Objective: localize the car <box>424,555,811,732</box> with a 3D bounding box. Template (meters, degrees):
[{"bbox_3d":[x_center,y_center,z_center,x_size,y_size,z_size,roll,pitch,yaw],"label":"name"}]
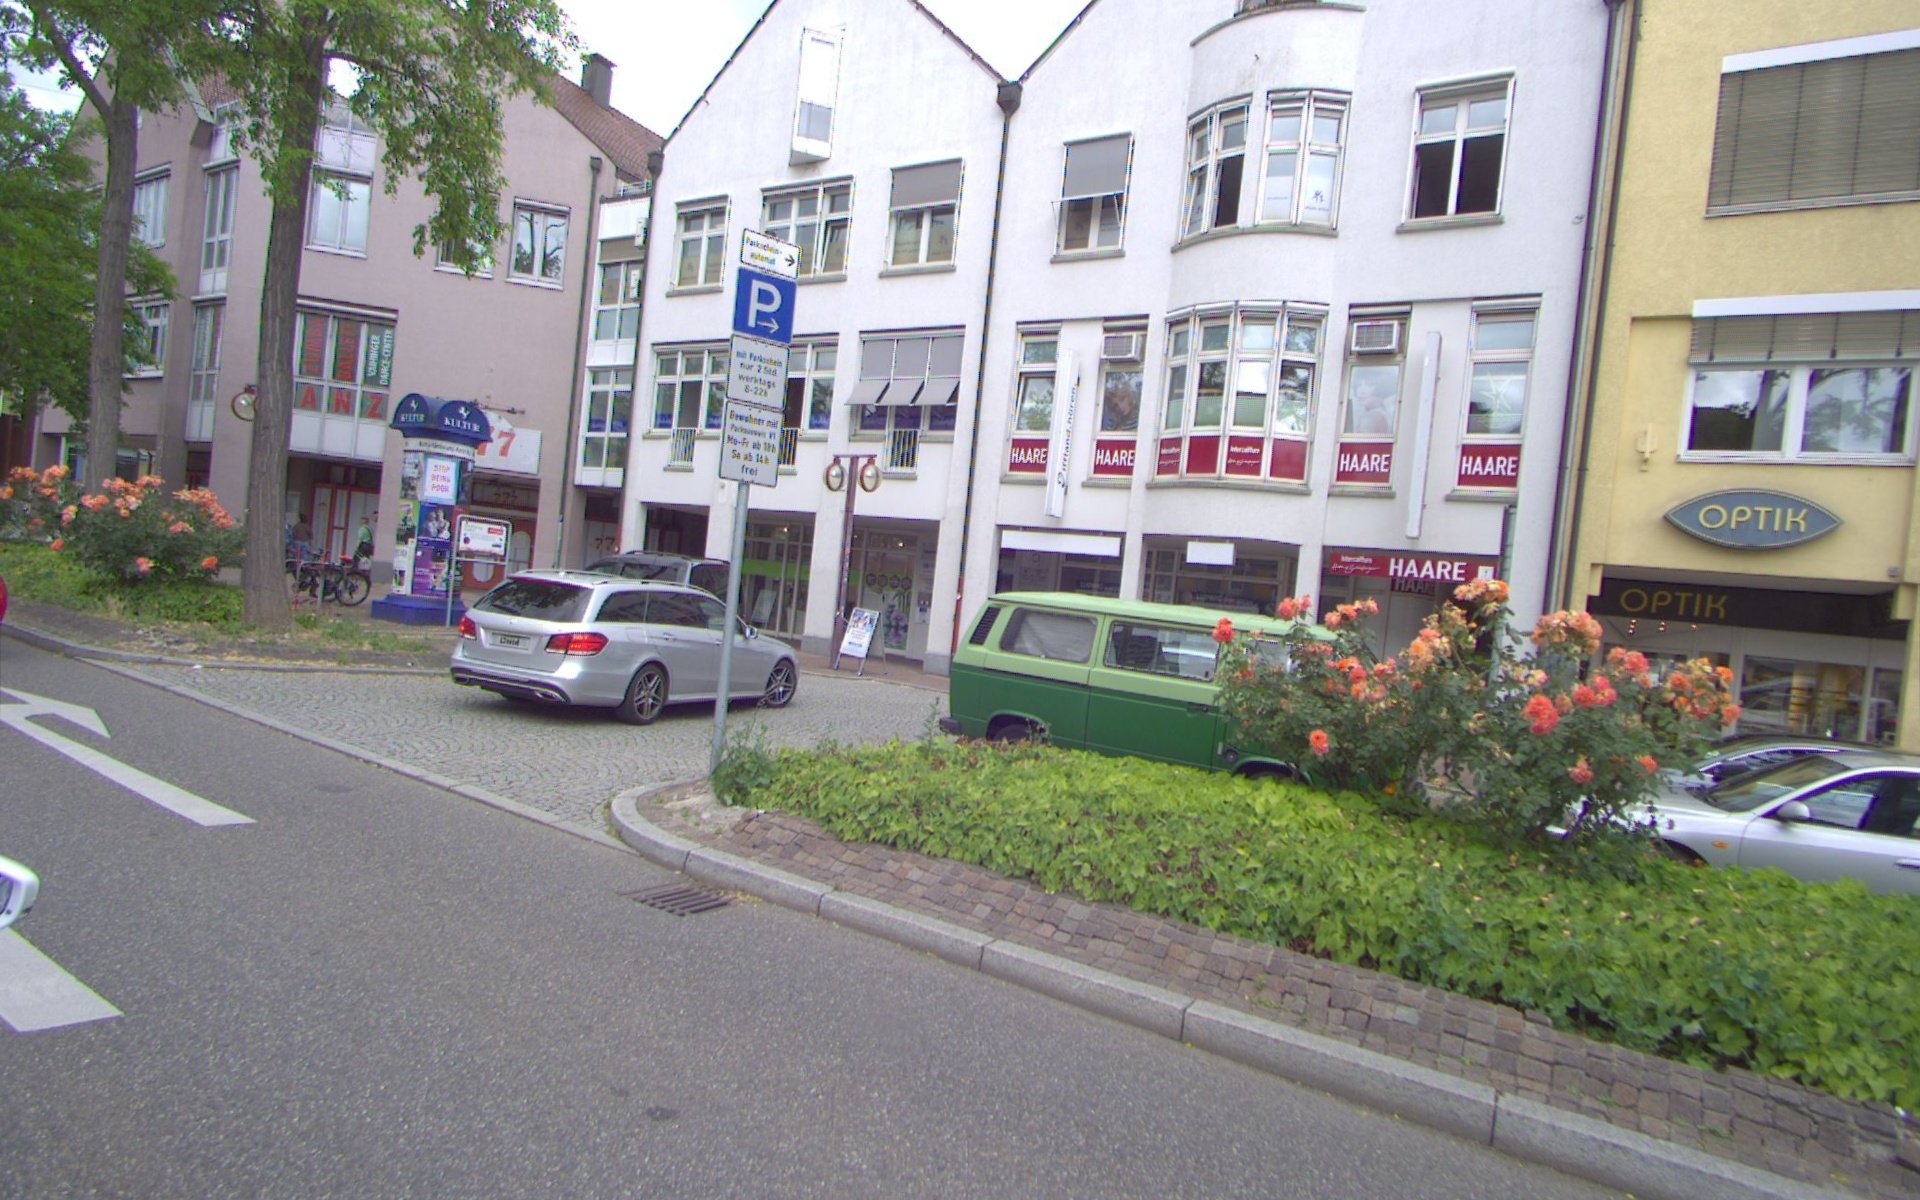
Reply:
[{"bbox_3d":[-3.673,0.500,11.748,1.787,1.466,4.369,8,0,20],"label":"car"}]

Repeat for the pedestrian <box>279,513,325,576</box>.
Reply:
[{"bbox_3d":[-18.005,-1.511,27.530,0.610,1.582,0.665,7,0,10],"label":"pedestrian"}]

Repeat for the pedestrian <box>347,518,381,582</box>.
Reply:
[{"bbox_3d":[-16.652,-1.401,28.132,0.631,1.697,0.584,7,0,-30],"label":"pedestrian"}]

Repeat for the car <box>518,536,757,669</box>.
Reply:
[{"bbox_3d":[-5.745,0.027,17.856,3.897,1.855,1.640,7,1,27],"label":"car"}]

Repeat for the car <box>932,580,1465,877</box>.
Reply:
[{"bbox_3d":[2.221,1.021,9.749,4.527,1.900,1.882,7,1,30],"label":"car"}]

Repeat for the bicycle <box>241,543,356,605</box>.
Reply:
[{"bbox_3d":[-13.007,-0.501,19.830,0.440,1.009,1.769,7,0,35],"label":"bicycle"}]

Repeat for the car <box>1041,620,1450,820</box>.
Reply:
[{"bbox_3d":[3.381,1.293,12.146,4.319,1.562,1.798,7,1,30],"label":"car"}]

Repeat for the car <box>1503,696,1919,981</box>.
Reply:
[{"bbox_3d":[6.535,1.773,7.372,4.344,1.468,1.765,7,0,30],"label":"car"}]

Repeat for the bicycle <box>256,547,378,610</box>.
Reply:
[{"bbox_3d":[-12.500,-0.403,19.628,0.460,1.009,1.902,7,0,35],"label":"bicycle"}]

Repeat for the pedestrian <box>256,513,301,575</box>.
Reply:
[{"bbox_3d":[-18.125,-1.485,26.772,0.610,1.534,0.612,7,0,10],"label":"pedestrian"}]

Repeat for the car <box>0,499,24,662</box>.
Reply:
[{"bbox_3d":[-10.395,-0.414,9.323,3.293,1.459,1.590,7,-2,32],"label":"car"}]

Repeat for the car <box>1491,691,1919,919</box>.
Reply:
[{"bbox_3d":[7.750,1.935,9.857,4.344,1.394,1.999,7,1,30],"label":"car"}]
